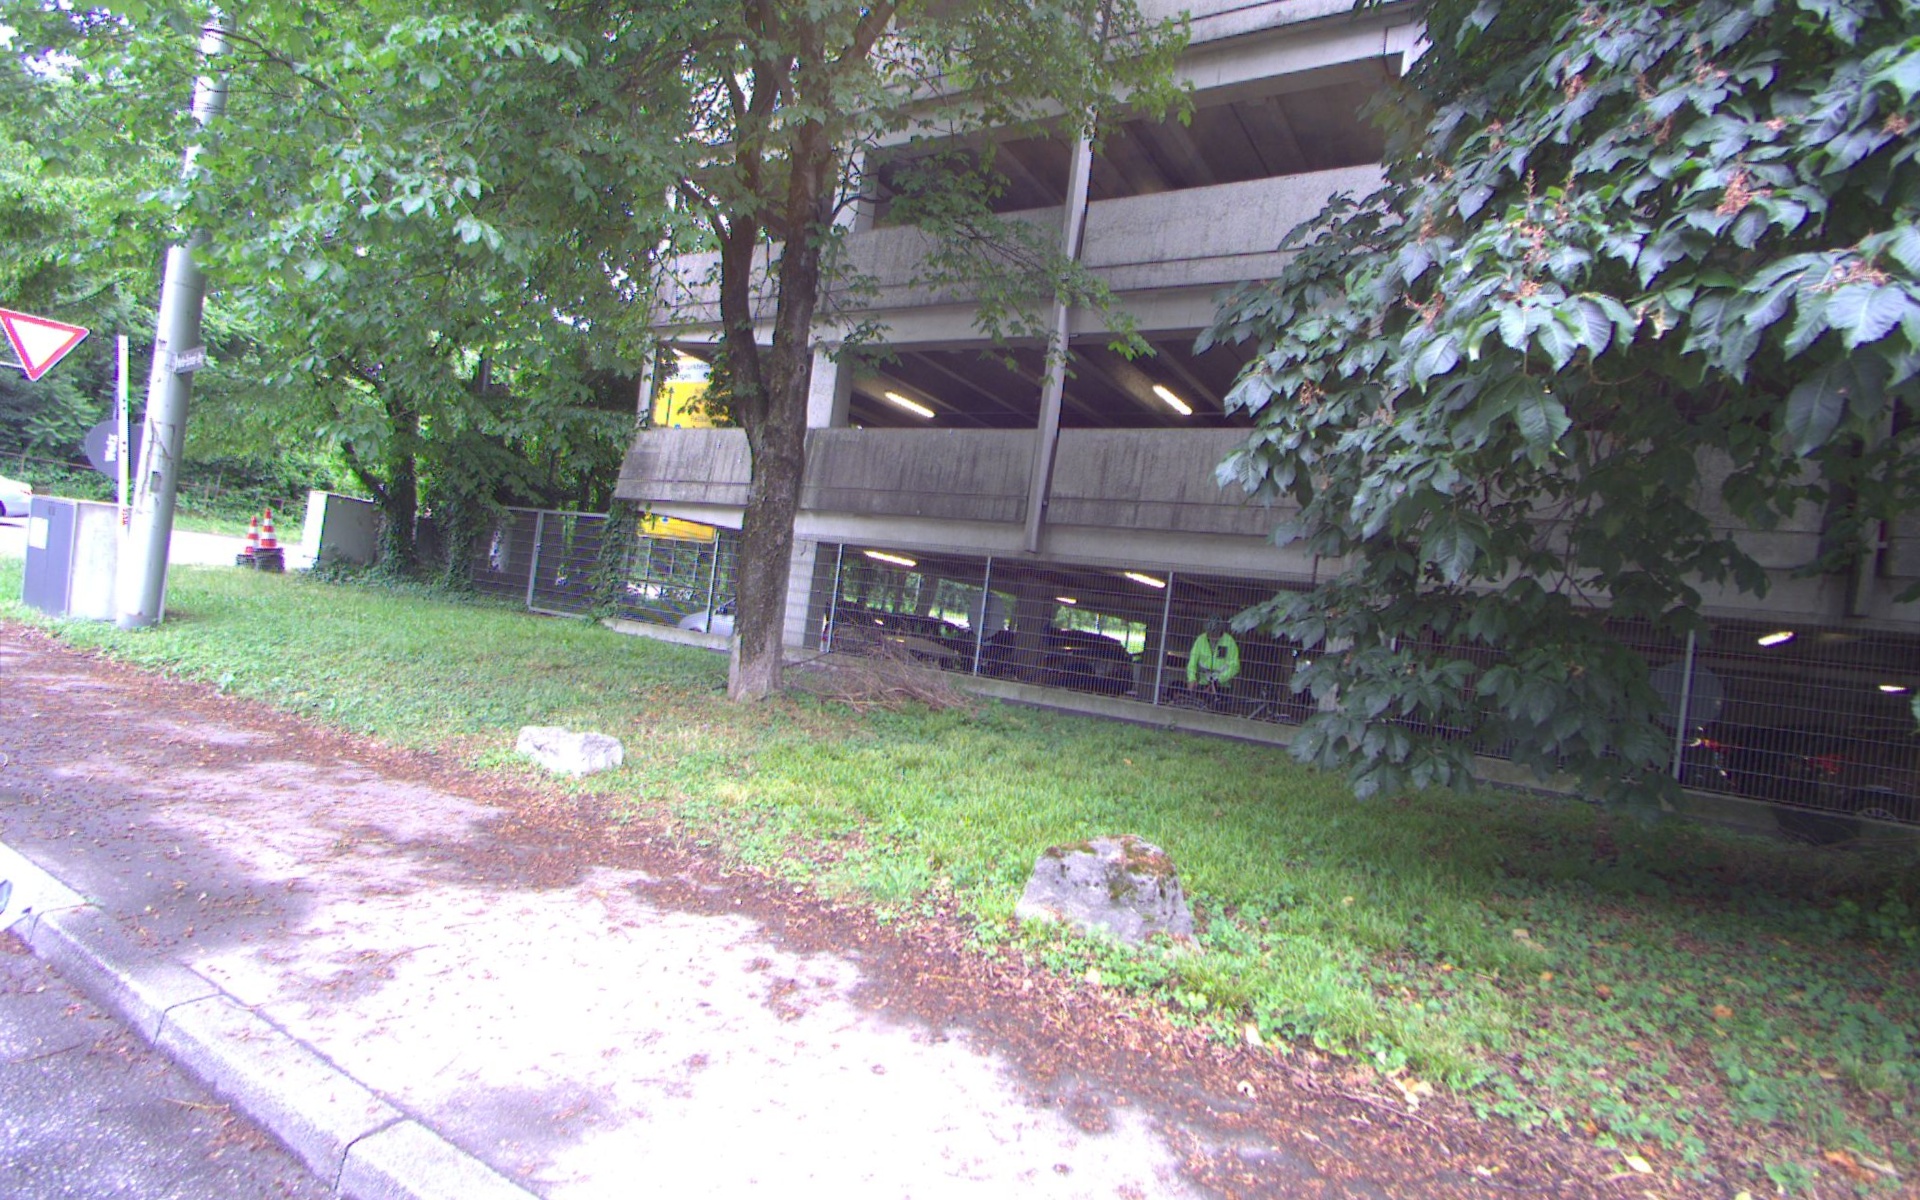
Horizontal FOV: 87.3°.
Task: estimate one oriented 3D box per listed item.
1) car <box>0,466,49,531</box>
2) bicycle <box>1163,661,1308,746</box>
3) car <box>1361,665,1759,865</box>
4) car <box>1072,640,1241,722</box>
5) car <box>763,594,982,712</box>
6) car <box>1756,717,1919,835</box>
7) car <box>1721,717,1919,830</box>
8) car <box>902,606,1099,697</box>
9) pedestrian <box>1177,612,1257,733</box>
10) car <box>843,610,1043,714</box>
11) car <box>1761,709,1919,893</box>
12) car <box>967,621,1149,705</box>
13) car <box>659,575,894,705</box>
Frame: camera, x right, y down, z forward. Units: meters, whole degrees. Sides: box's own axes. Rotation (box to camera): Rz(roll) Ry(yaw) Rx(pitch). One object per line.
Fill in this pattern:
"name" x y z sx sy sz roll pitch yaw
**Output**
"car" -23.603 -2.648 22.214 1.802 1.349 4.763 10 -1 29
"bicycle" 3.114 1.161 11.384 1.469 0.744 0.448 6 -3 24
"car" 8.616 2.284 14.842 4.597 2.036 1.998 5 -3 31
"car" 6.132 2.516 31.559 4.658 1.855 1.923 6 -3 33
"car" -1.672 0.970 18.828 3.707 1.727 1.584 5 -3 32
"car" 15.606 2.983 16.523 3.640 1.625 1.721 5 -3 30
"car" 16.596 3.235 18.657 3.640 1.625 1.721 5 -3 30
"car" 0.918 1.174 23.222 3.934 1.569 1.998 5 -3 32
"pedestrian" 3.031 0.856 11.841 0.626 1.332 0.642 5 -3 31
"car" -0.379 1.277 20.885 3.658 1.682 1.734 5 -3 32
"car" 12.666 2.648 12.474 3.935 2.036 1.997 5 -3 33
"car" 2.429 1.569 25.158 3.934 1.569 1.998 5 -3 32
"car" -3.118 0.655 16.902 3.658 1.727 1.484 5 -3 32
